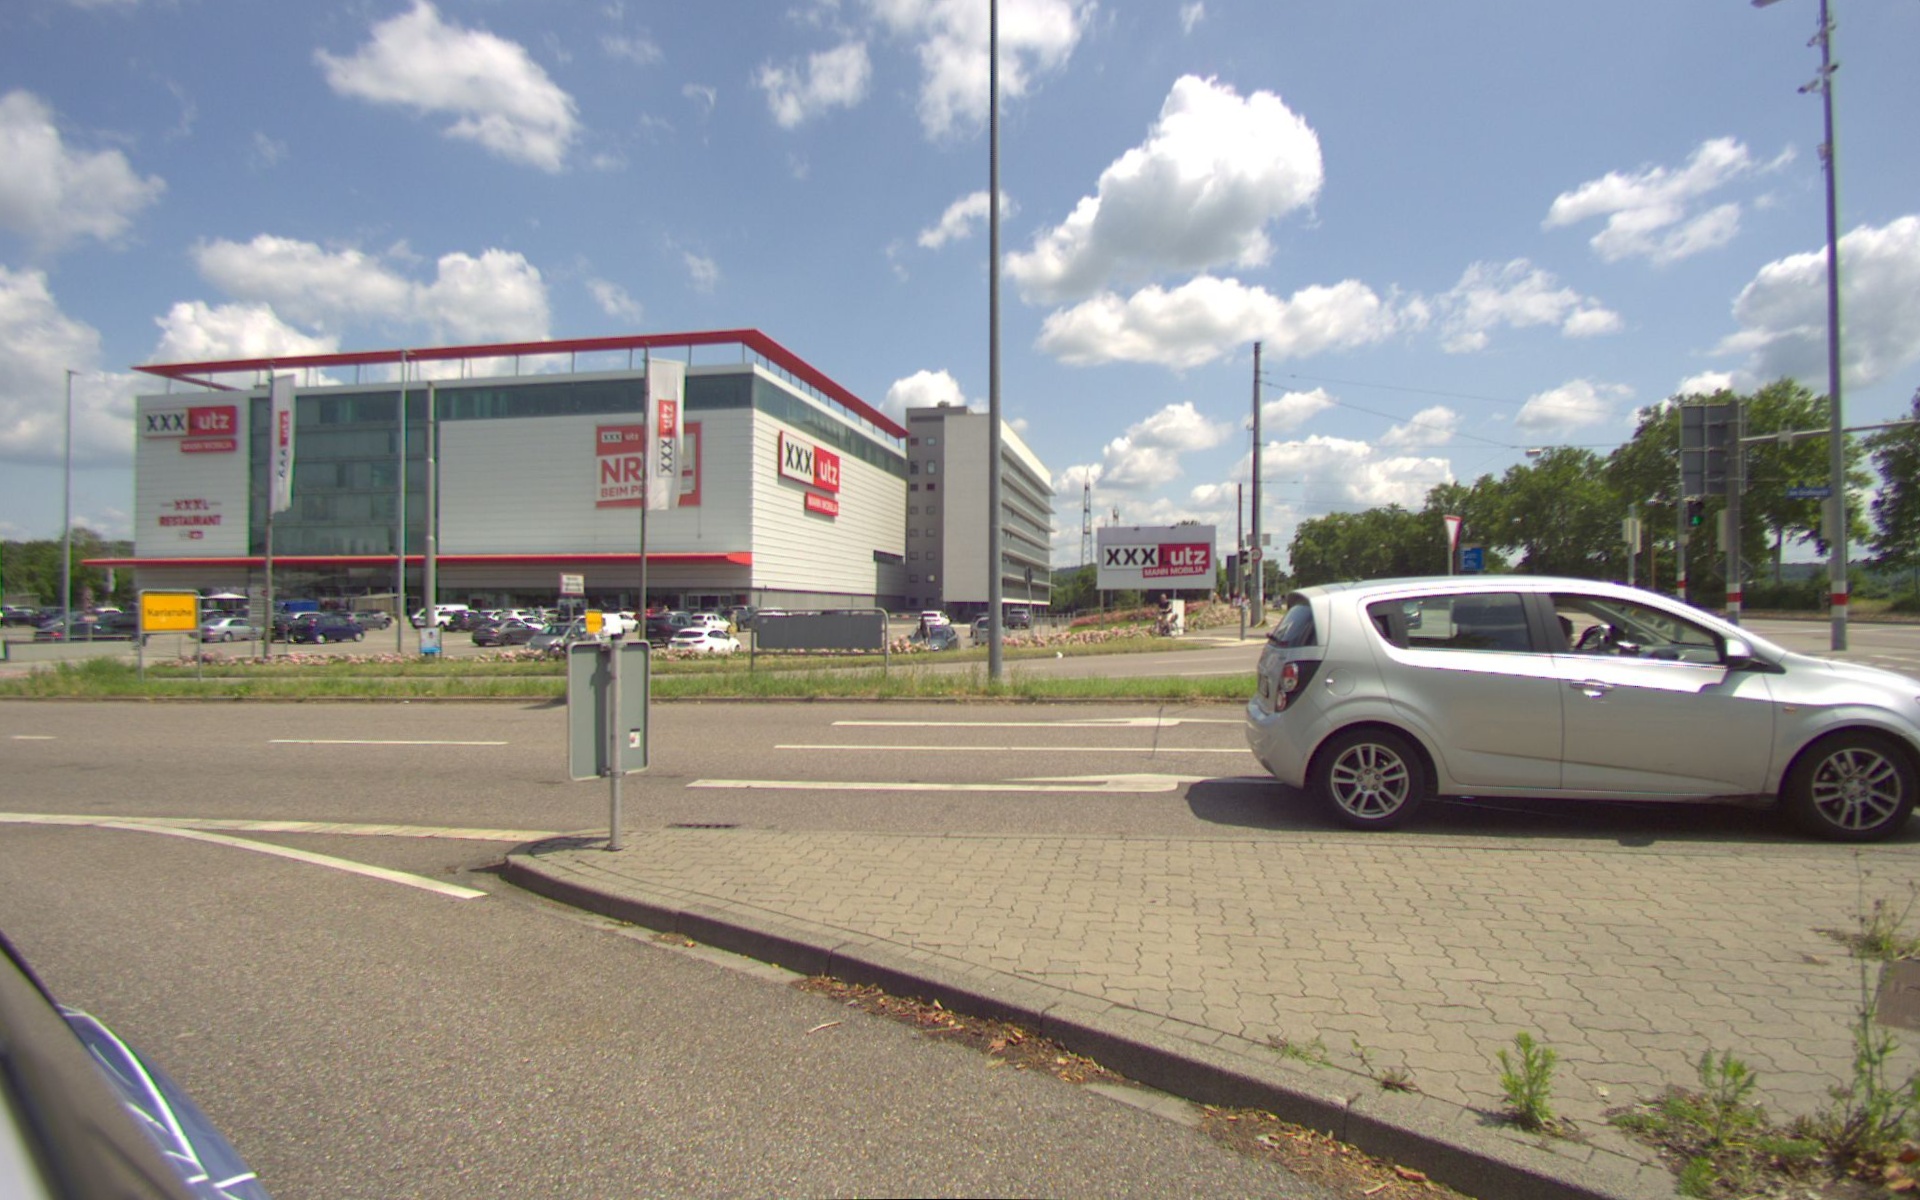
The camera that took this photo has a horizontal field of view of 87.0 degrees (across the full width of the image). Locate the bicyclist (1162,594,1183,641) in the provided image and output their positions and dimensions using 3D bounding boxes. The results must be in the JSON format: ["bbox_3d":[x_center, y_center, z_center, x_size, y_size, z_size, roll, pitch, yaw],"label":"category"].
[{"bbox_3d":[7.906,0.659,37.676,0.630,1.717,0.456,-2,-1,25],"label":"bicyclist"}]

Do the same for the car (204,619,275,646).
[{"bbox_3d":[-56.475,2.512,79.406,1.979,2.004,4.347,-1,-1,11],"label":"car"}]

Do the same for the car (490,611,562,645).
[{"bbox_3d":[-26.885,1.709,62.791,1.979,2.004,4.347,1,-1,11],"label":"car"}]

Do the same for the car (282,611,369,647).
[{"bbox_3d":[-37.523,1.693,59.969,1.979,2.004,4.347,-1,0,11],"label":"car"}]

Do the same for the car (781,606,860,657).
[{"bbox_3d":[-5.762,1.308,42.281,1.980,2.029,3.983,-1,-1,13],"label":"car"}]

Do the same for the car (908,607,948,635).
[{"bbox_3d":[-2.251,1.519,72.982,1.979,2.004,4.347,-1,-1,11],"label":"car"}]

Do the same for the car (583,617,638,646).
[{"bbox_3d":[-25.045,2.213,72.674,1.979,2.004,4.071,-1,-1,11],"label":"car"}]

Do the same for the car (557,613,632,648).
[{"bbox_3d":[-20.131,1.667,55.942,1.979,1.853,4.347,-1,-1,11],"label":"car"}]

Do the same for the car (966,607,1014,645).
[{"bbox_3d":[1.699,1.449,55.941,1.979,2.004,4.347,-1,-1,11],"label":"car"}]

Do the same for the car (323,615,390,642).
[{"bbox_3d":[-46.322,2.208,77.758,1.980,2.004,4.345,-1,-2,13],"label":"car"}]

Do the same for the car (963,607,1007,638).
[{"bbox_3d":[1.675,1.492,67.326,2.226,2.004,4.347,-1,-1,11],"label":"car"}]

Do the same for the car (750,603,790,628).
[{"bbox_3d":[-16.158,1.340,86.252,1.980,2.004,4.068,-1,-1,13],"label":"car"}]

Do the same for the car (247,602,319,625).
[{"bbox_3d":[-57.417,1.178,85.930,2.175,1.792,5.116,-1,-2,10],"label":"car"}]

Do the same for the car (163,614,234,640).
[{"bbox_3d":[-60.704,2.168,80.728,1.979,2.004,4.347,-1,-1,11],"label":"car"}]

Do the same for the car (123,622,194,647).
[{"bbox_3d":[-65.551,2.811,82.854,1.979,2.004,4.347,-1,-1,11],"label":"car"}]

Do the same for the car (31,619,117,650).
[{"bbox_3d":[-62.498,2.414,71.499,1.970,2.058,4.285,-1,-1,11],"label":"car"}]

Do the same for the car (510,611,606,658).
[{"bbox_3d":[-17.981,1.516,45.507,1.979,2.004,4.347,-1,-1,11],"label":"car"}]

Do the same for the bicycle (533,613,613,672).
[{"bbox_3d":[-11.522,1.261,30.161,2.028,1.688,1.017,-1,-2,13],"label":"bicycle"}]

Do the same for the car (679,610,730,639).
[{"bbox_3d":[-17.779,1.706,70.611,1.979,2.004,4.071,-1,-1,11],"label":"car"}]

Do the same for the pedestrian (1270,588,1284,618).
[{"bbox_3d":[21.808,0.208,69.574,0.772,2.029,0.561,-2,-2,33],"label":"pedestrian"}]

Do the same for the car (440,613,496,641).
[{"bbox_3d":[-36.548,1.965,75.267,1.758,2.029,3.985,-1,-1,11],"label":"car"}]

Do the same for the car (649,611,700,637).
[{"bbox_3d":[-21.576,1.787,76.615,1.979,1.896,4.347,-1,-1,11],"label":"car"}]

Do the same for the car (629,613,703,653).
[{"bbox_3d":[-15.847,1.756,54.850,1.979,2.004,4.581,0,0,11],"label":"car"}]

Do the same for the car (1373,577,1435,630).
[{"bbox_3d":[18.388,0.191,41.821,1.991,2.029,3.962,-2,-2,28],"label":"car"}]

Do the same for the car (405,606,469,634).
[{"bbox_3d":[-39.170,1.503,75.932,1.979,2.004,4.347,-1,-1,11],"label":"car"}]

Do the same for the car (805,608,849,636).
[{"bbox_3d":[-9.804,1.657,75.018,1.979,2.004,4.347,-1,-1,11],"label":"car"}]

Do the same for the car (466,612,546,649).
[{"bbox_3d":[-25.432,1.694,56.843,1.979,2.004,4.347,-1,-1,11],"label":"car"}]

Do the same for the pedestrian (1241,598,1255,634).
[{"bbox_3d":[14.638,0.834,51.434,0.593,1.824,0.530,-1,-2,23],"label":"pedestrian"}]

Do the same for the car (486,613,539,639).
[{"bbox_3d":[-35.521,2.056,80.399,1.979,2.029,3.985,-1,-1,11],"label":"car"}]

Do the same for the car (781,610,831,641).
[{"bbox_3d":[-10.529,1.750,69.545,1.978,2.004,4.612,-1,-1,10],"label":"car"}]

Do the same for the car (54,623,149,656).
[{"bbox_3d":[-54.475,2.455,64.320,1.979,2.004,4.347,-1,-1,11],"label":"car"}]

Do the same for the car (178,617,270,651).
[{"bbox_3d":[-44.477,2.019,61.277,1.979,2.004,4.347,-1,-1,11],"label":"car"}]

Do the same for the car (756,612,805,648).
[{"bbox_3d":[-10.479,1.752,59.328,1.972,2.004,5.309,0,-1,0],"label":"car"}]

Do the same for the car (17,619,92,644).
[{"bbox_3d":[-74.733,2.580,83.620,1.979,2.004,4.347,-1,-1,11],"label":"car"}]

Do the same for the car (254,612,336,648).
[{"bbox_3d":[-39.821,1.751,60.680,1.823,2.004,4.071,0,0,11],"label":"car"}]

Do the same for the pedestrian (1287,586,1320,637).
[{"bbox_3d":[12.752,0.422,37.553,0.852,1.851,0.800,-1,1,-16],"label":"pedestrian"}]

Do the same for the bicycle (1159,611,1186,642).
[{"bbox_3d":[7.900,0.979,37.648,0.631,1.047,1.528,-3,0,24],"label":"bicycle"}]

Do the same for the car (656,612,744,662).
[{"bbox_3d":[-10.976,1.555,43.078,1.979,2.004,4.347,-1,-1,11],"label":"car"}]

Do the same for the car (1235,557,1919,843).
[{"bbox_3d":[3.812,0.545,6.439,3.793,1.481,1.894,-2,1,12],"label":"car"}]

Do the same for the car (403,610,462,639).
[{"bbox_3d":[-42.860,1.981,82.393,1.850,2.324,4.555,-1,-1,11],"label":"car"}]
